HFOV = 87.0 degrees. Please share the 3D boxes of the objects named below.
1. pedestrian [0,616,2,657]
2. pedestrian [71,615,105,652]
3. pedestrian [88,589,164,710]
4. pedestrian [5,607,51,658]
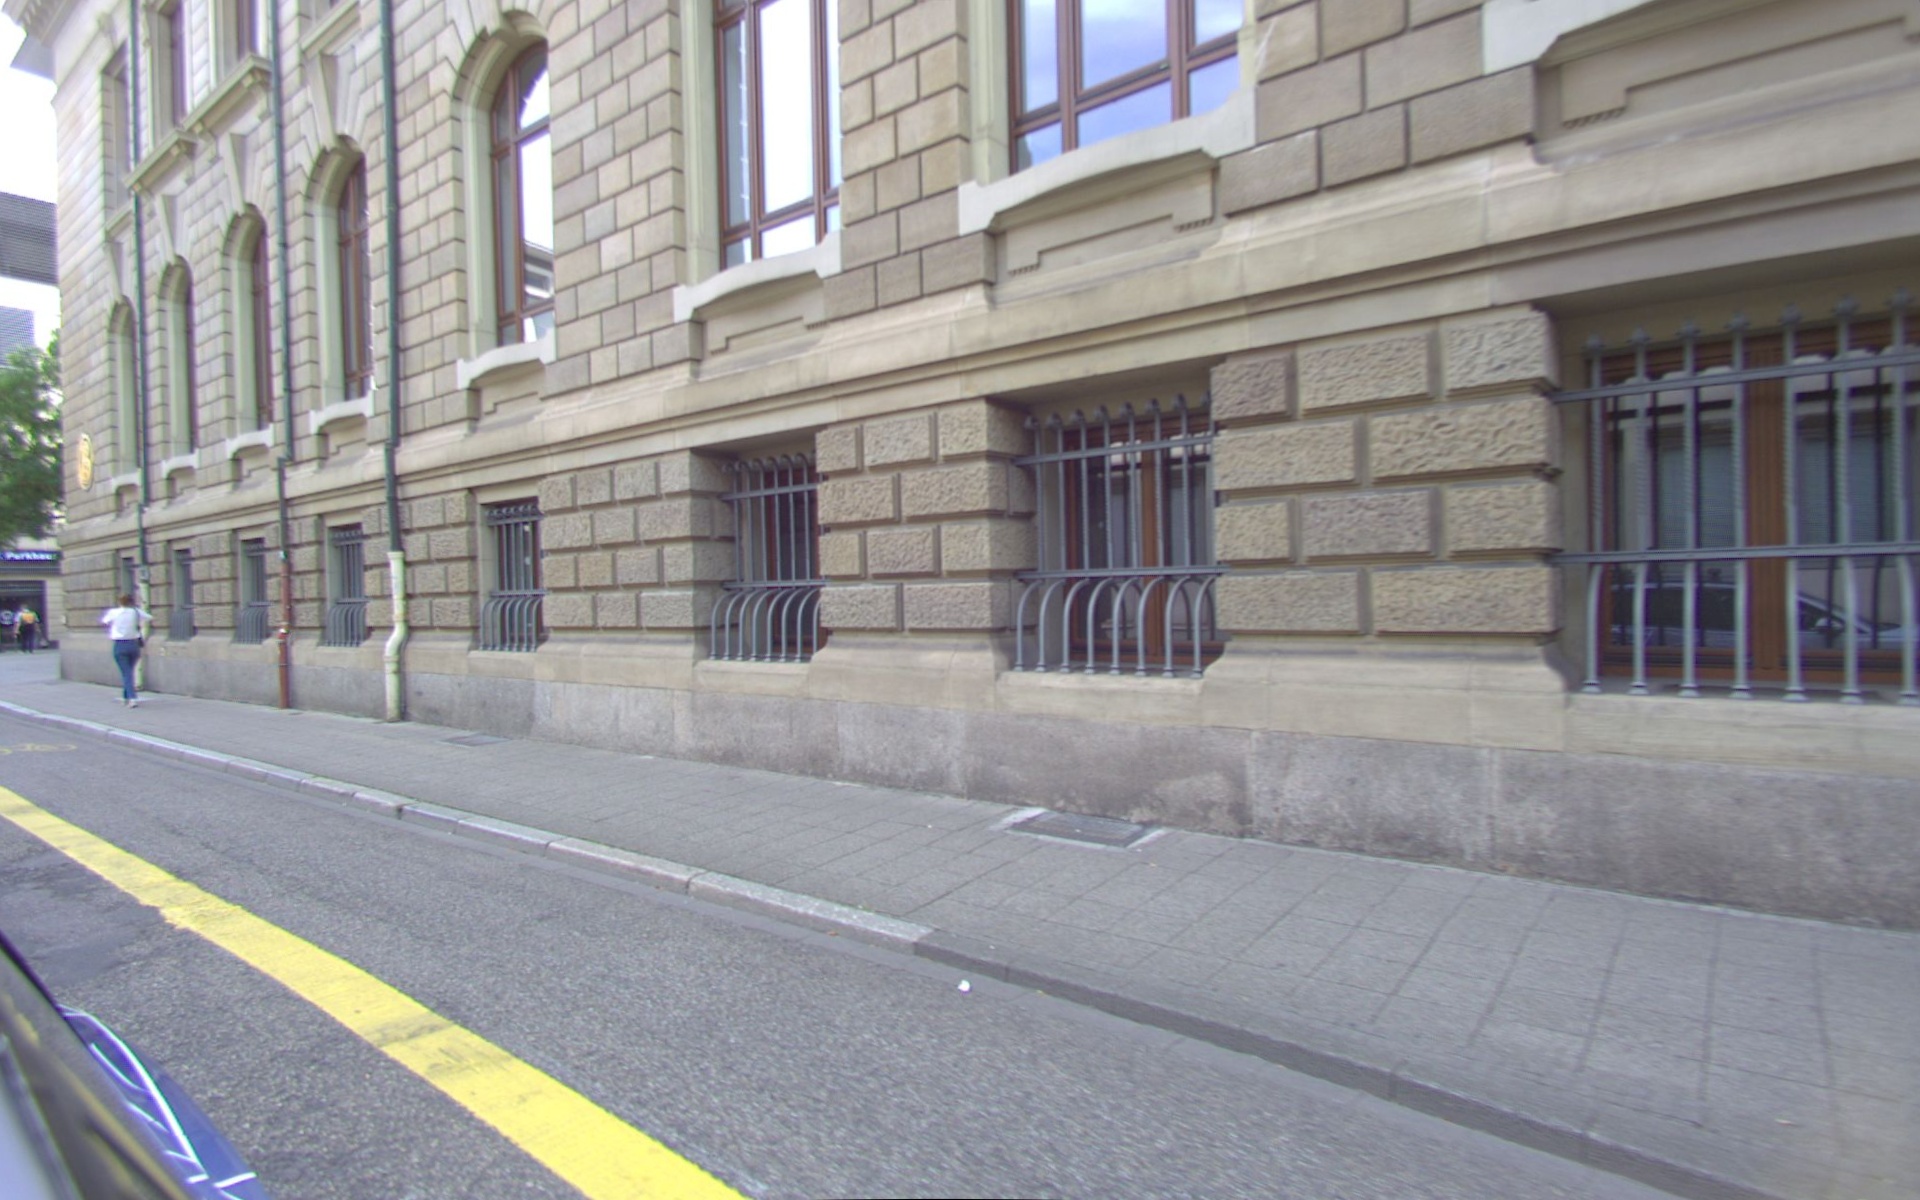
[{"bbox_3d":[-44.367,1.668,46.205,0.857,1.844,0.642,-1,0,25],"label":"pedestrian"},{"bbox_3d":[-43.984,1.692,51.065,0.890,1.778,1.049,0,2,34],"label":"pedestrian"},{"bbox_3d":[-13.332,0.766,16.168,1.046,1.833,0.657,-1,2,38],"label":"pedestrian"},{"bbox_3d":[-33.187,1.130,36.030,0.817,1.732,1.016,-1,2,38],"label":"pedestrian"}]
